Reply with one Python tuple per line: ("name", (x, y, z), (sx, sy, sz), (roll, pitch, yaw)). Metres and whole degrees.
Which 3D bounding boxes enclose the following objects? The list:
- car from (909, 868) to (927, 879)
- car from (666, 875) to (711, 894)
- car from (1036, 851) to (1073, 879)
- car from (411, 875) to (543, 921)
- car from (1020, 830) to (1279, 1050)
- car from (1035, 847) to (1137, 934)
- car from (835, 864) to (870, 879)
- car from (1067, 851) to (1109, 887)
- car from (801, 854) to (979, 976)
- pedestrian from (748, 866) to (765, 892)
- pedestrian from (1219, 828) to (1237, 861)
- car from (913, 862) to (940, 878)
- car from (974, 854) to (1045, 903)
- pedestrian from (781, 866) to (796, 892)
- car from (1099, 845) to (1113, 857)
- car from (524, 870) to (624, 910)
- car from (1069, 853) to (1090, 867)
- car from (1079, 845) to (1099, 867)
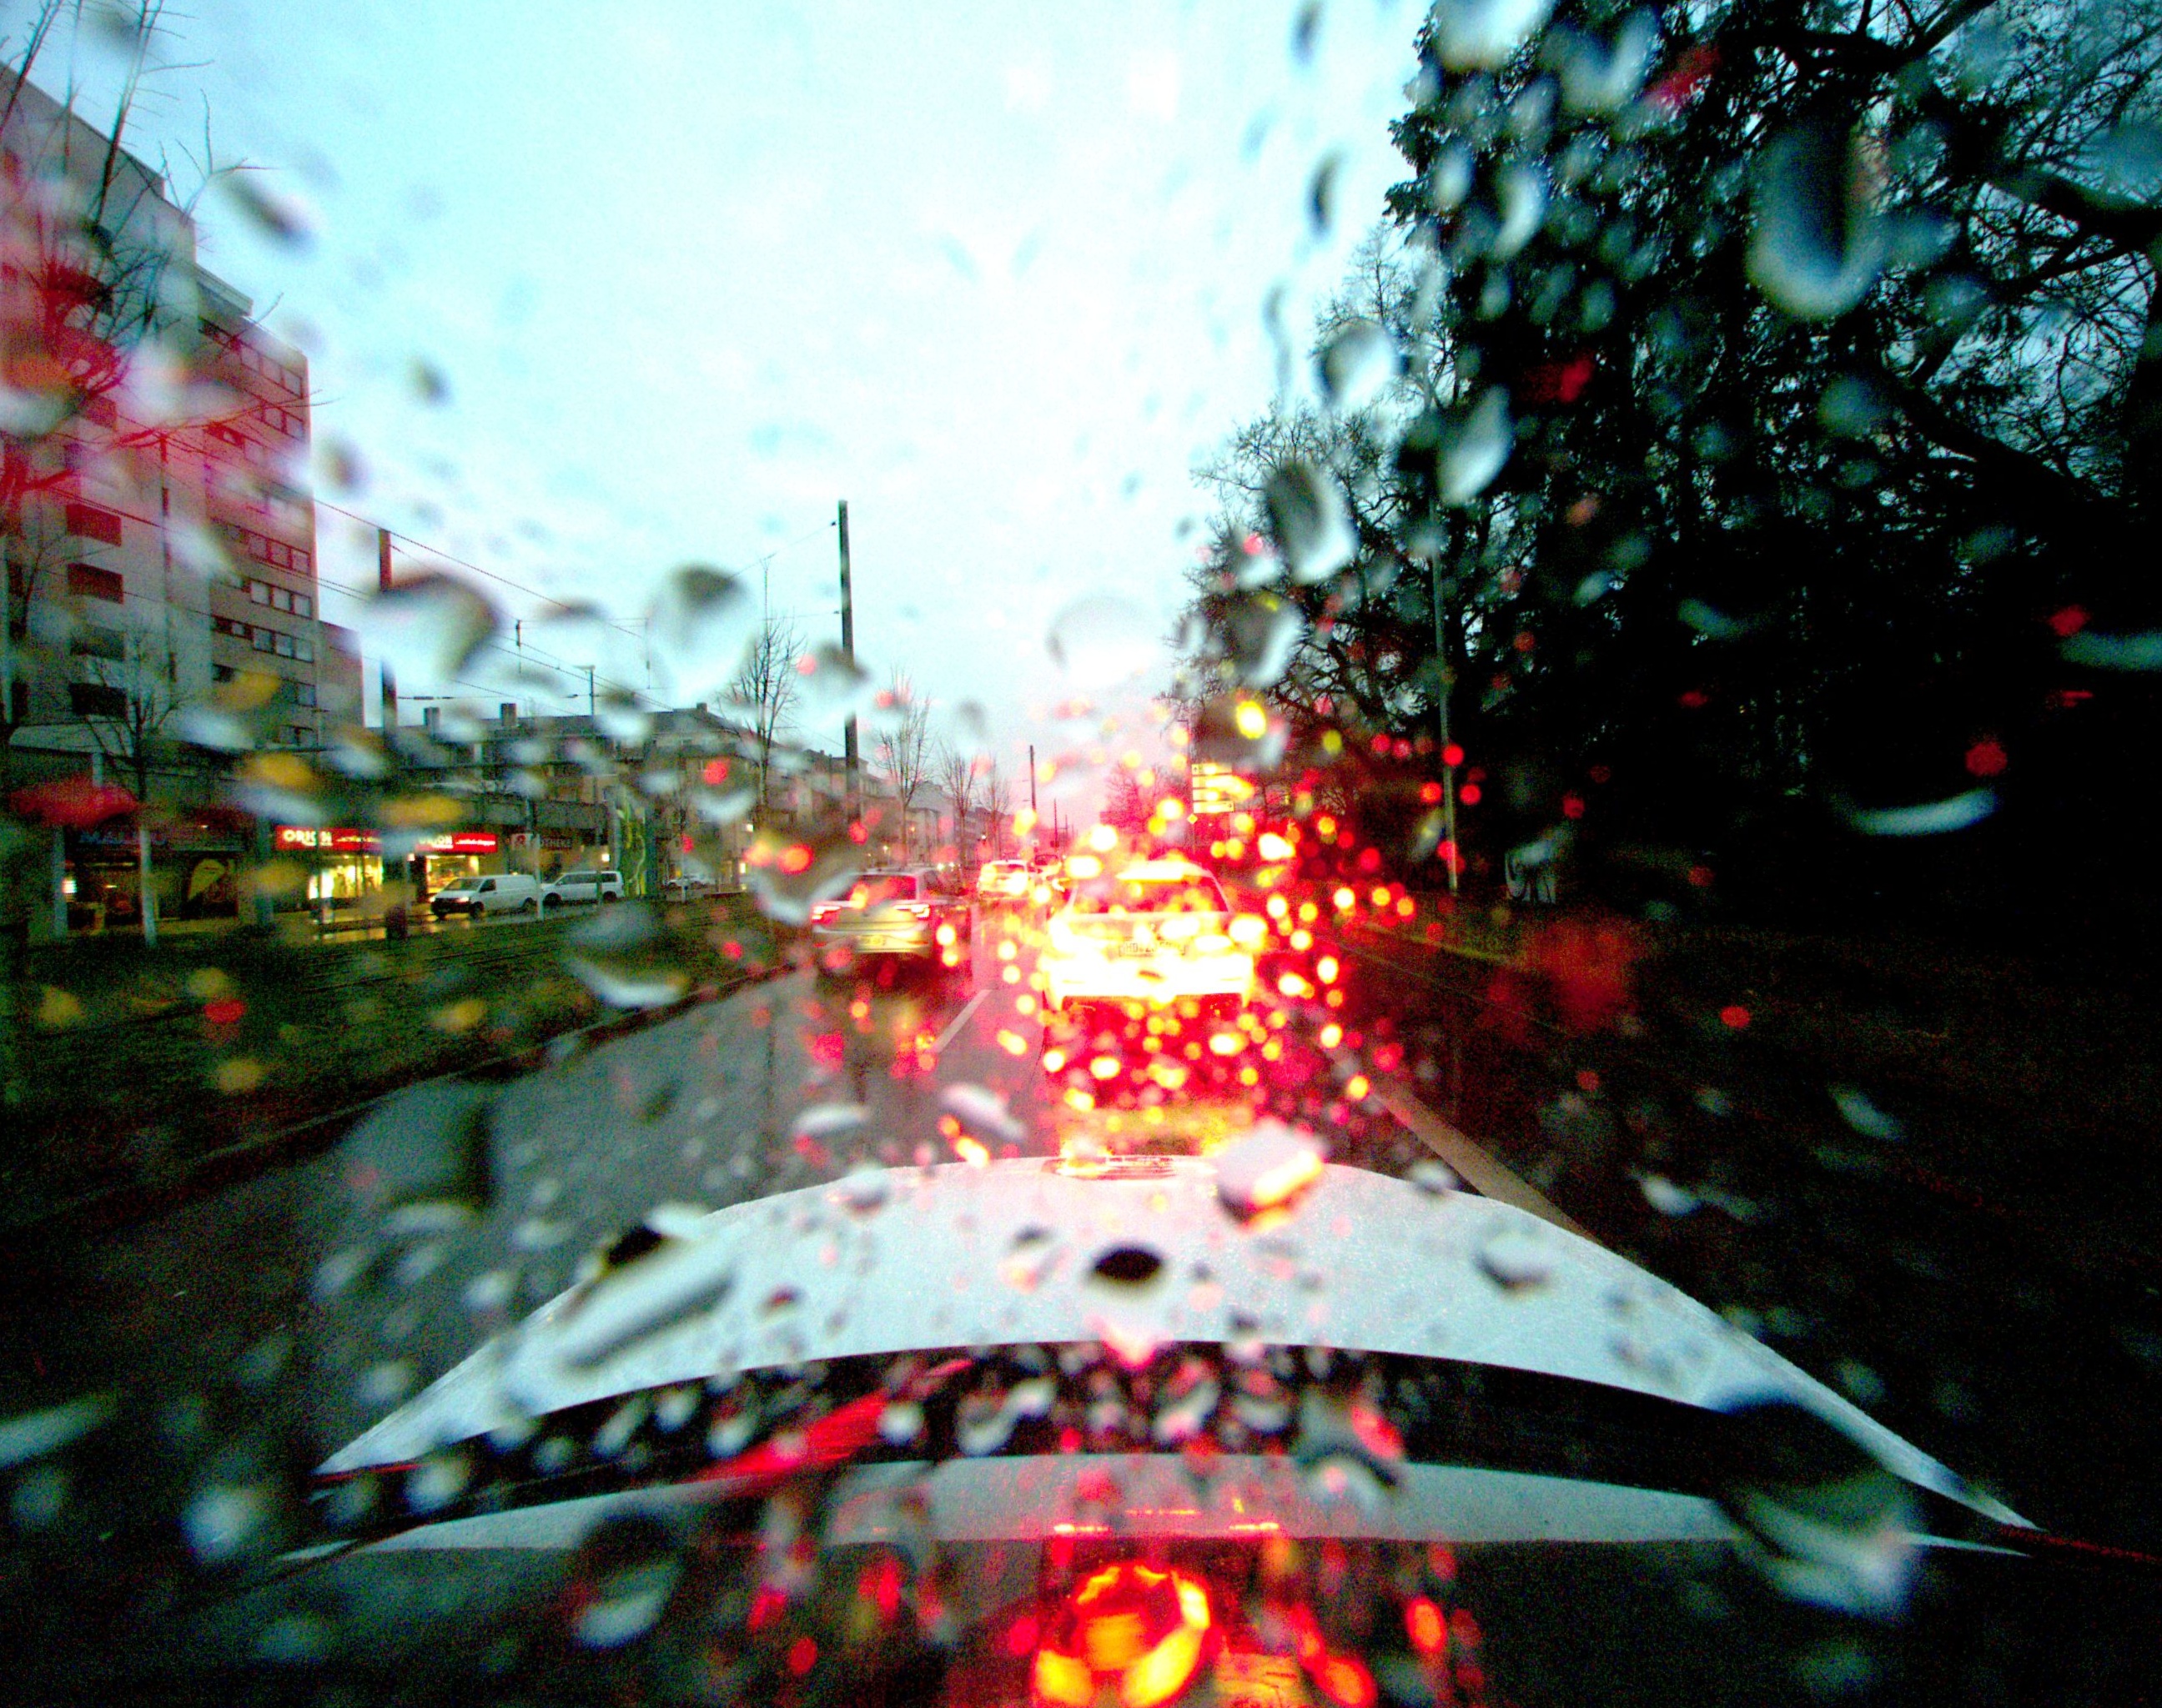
("car", (-19.921, 2.360, 99.612), (1.688, 1.277, 4.141), (-2, 0, -4))
("car", (-40.681, 3.154, 84.464), (3.744, 1.942, 1.838), (0, -1, -7))
("car", (-1.410, 0.600, 45.485), (1.731, 1.419, 4.395), (-3, 0, 2))
("car", (-29.699, 2.100, 40.339), (1.983, 2.046, 5.575), (0, -1, 6))
("car", (0.589, 0.639, 8.518), (1.855, 1.556, 4.940), (-3, 0, 2))
("car", (0.161, 0.664, 16.685), (1.793, 1.511, 3.897), (-2, 0, 2))
("car", (-20.658, 1.552, 73.921), (1.852, 1.332, 4.317), (0, 0, 2))
("car", (0.356, 0.624, 36.059), (1.731, 1.419, 3.704), (-3, 0, 2))
("car", (-2.697, 0.777, 12.430), (1.687, 1.533, 4.000), (-1, 0, 1))
("pedestrian", (-26.378, 1.994, 66.195), (1.274, 2.013, 1.000), (-2, 0, -23))
("pedestrian", (9.288, -0.602, 51.463), (0.954, 2.013, 1.009), (-2, 0, 6))
("car", (-16.122, 1.613, 85.142), (1.987, 1.602, 4.000), (0, -1, 1))
("car", (-2.321, 0.765, 27.622), (1.792, 1.466, 4.587), (-3, 0, 2))
("pedestrian", (-22.830, 1.954, 63.619), (0.960, 2.013, 1.003), (-2, 0, -14))
("car", (3.141, -0.328, 102.131), (1.731, 1.419, 4.147), (-3, 0, 2))
("car", (-30.698, 2.105, 49.443), (4.859, 2.244, 1.975), (0, -1, -44))
("car", (-0.110, 0.589, 77.654), (1.923, 1.288, 4.001), (0, 0, 1))
("car", (0.596, 0.156, 64.324), (1.501, 1.653, 2.843), (0, -1, -2))
